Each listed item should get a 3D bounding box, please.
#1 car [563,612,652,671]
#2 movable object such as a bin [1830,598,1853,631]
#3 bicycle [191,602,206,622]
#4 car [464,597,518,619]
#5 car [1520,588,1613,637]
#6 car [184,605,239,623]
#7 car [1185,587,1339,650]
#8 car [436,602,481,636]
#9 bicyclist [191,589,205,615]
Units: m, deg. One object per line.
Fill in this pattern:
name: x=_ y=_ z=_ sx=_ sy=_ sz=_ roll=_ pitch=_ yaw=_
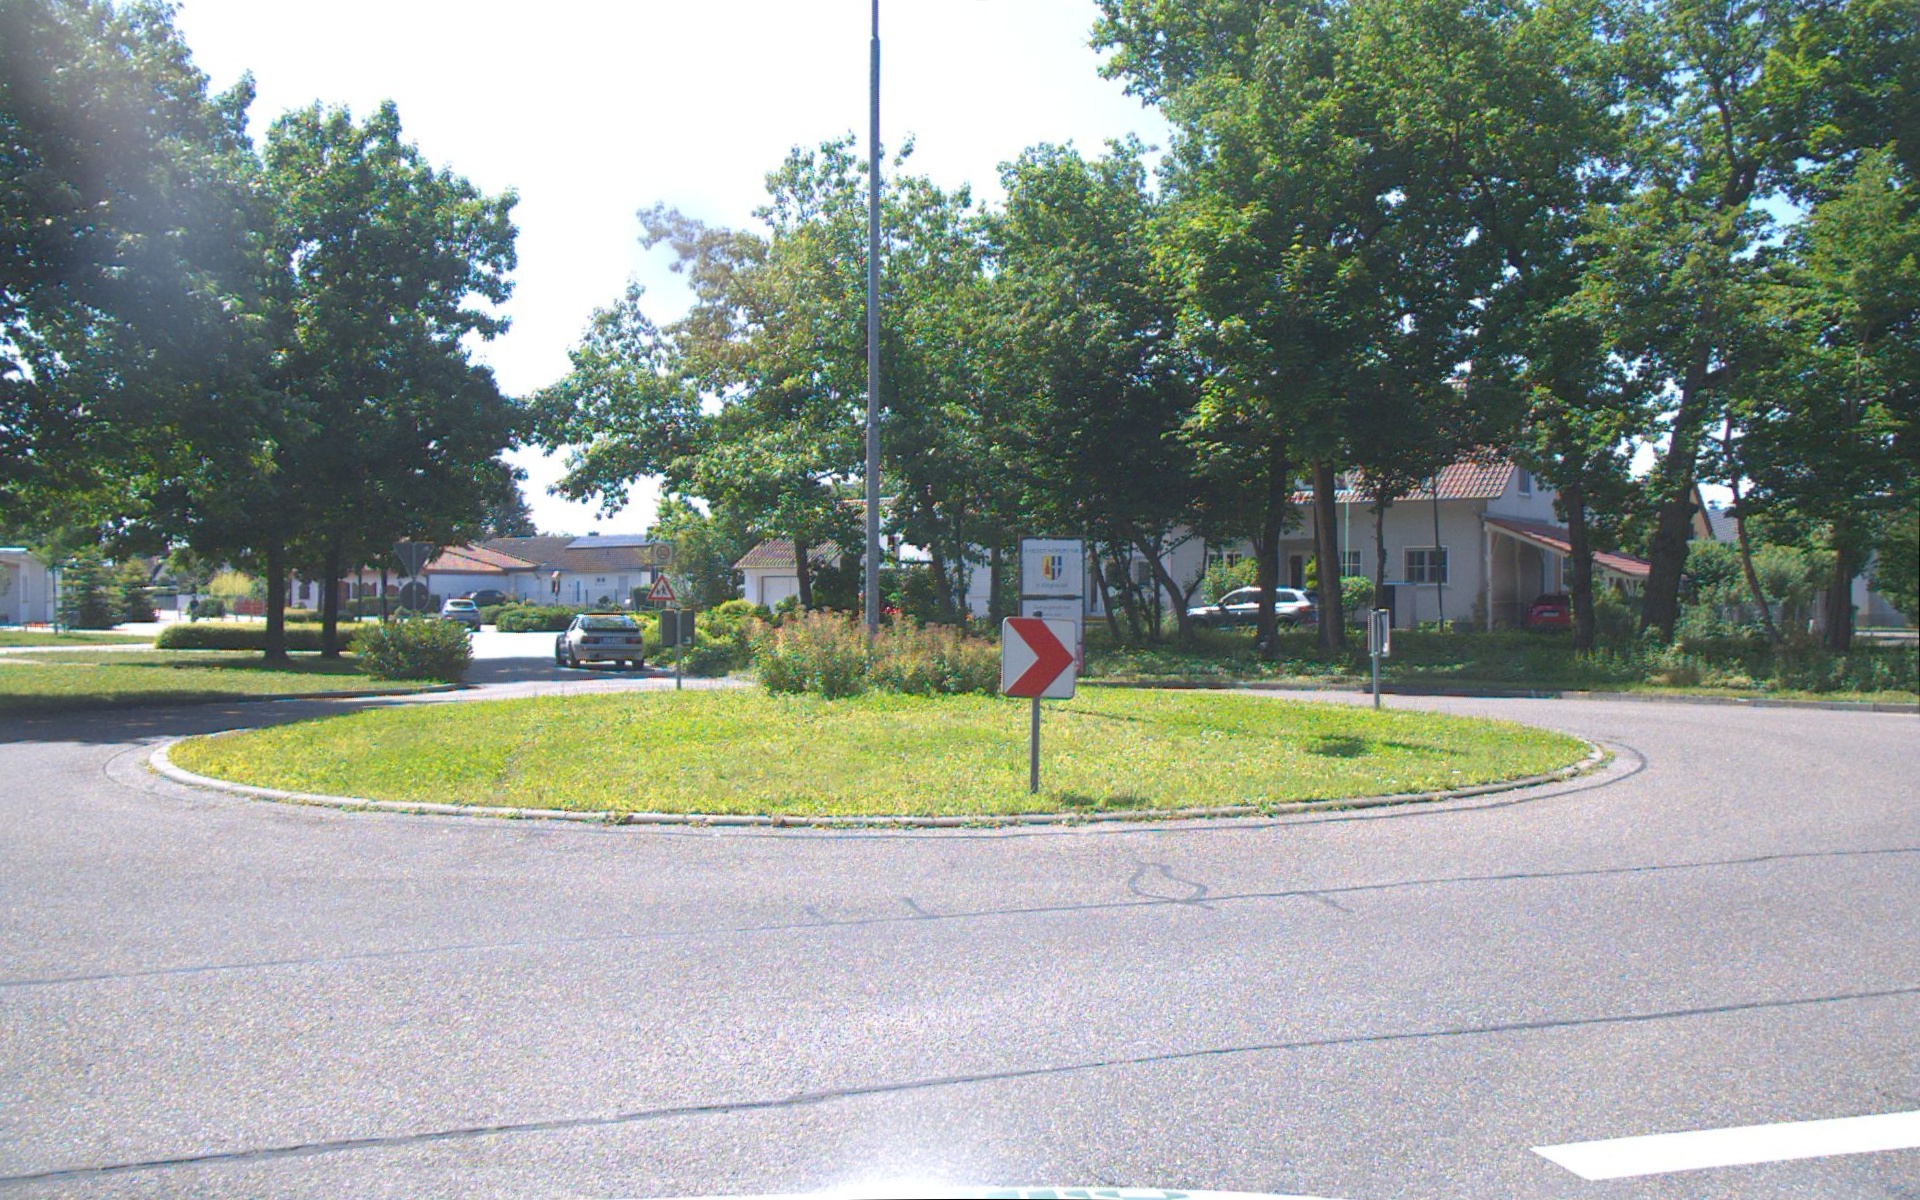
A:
car: x=-8.487 y=0.962 z=39.646 sx=1.591 sy=1.311 sz=3.535 roll=0 pitch=0 yaw=-21
movable object such as a bin: x=30.348 y=0.500 z=56.937 sx=0.645 sy=1.132 sz=0.456 roll=-1 pitch=0 yaw=34
bicycle: x=-35.591 y=0.547 z=77.280 sx=0.589 sy=0.945 sz=1.608 roll=0 pitch=0 yaw=-23
car: x=-34.152 y=0.577 z=120.565 sx=1.811 sy=1.569 sz=3.834 roll=0 pitch=0 yaw=24
car: x=18.337 y=0.352 z=49.940 sx=1.651 sy=1.409 sz=3.678 roll=0 pitch=0 yaw=37
car: x=-54.258 y=1.014 z=119.883 sx=3.922 sy=1.311 sz=1.991 roll=0 pitch=0 yaw=38
car: x=8.666 y=0.510 z=47.544 sx=4.058 sy=1.735 sz=1.661 roll=0 pitch=0 yaw=34
car: x=-23.068 y=0.853 z=75.953 sx=1.606 sy=1.512 sz=3.973 roll=-1 pitch=0 yaw=-22
bicyclist: x=-35.618 y=0.081 z=77.330 sx=0.589 sy=1.185 sz=0.644 roll=0 pitch=0 yaw=-24
